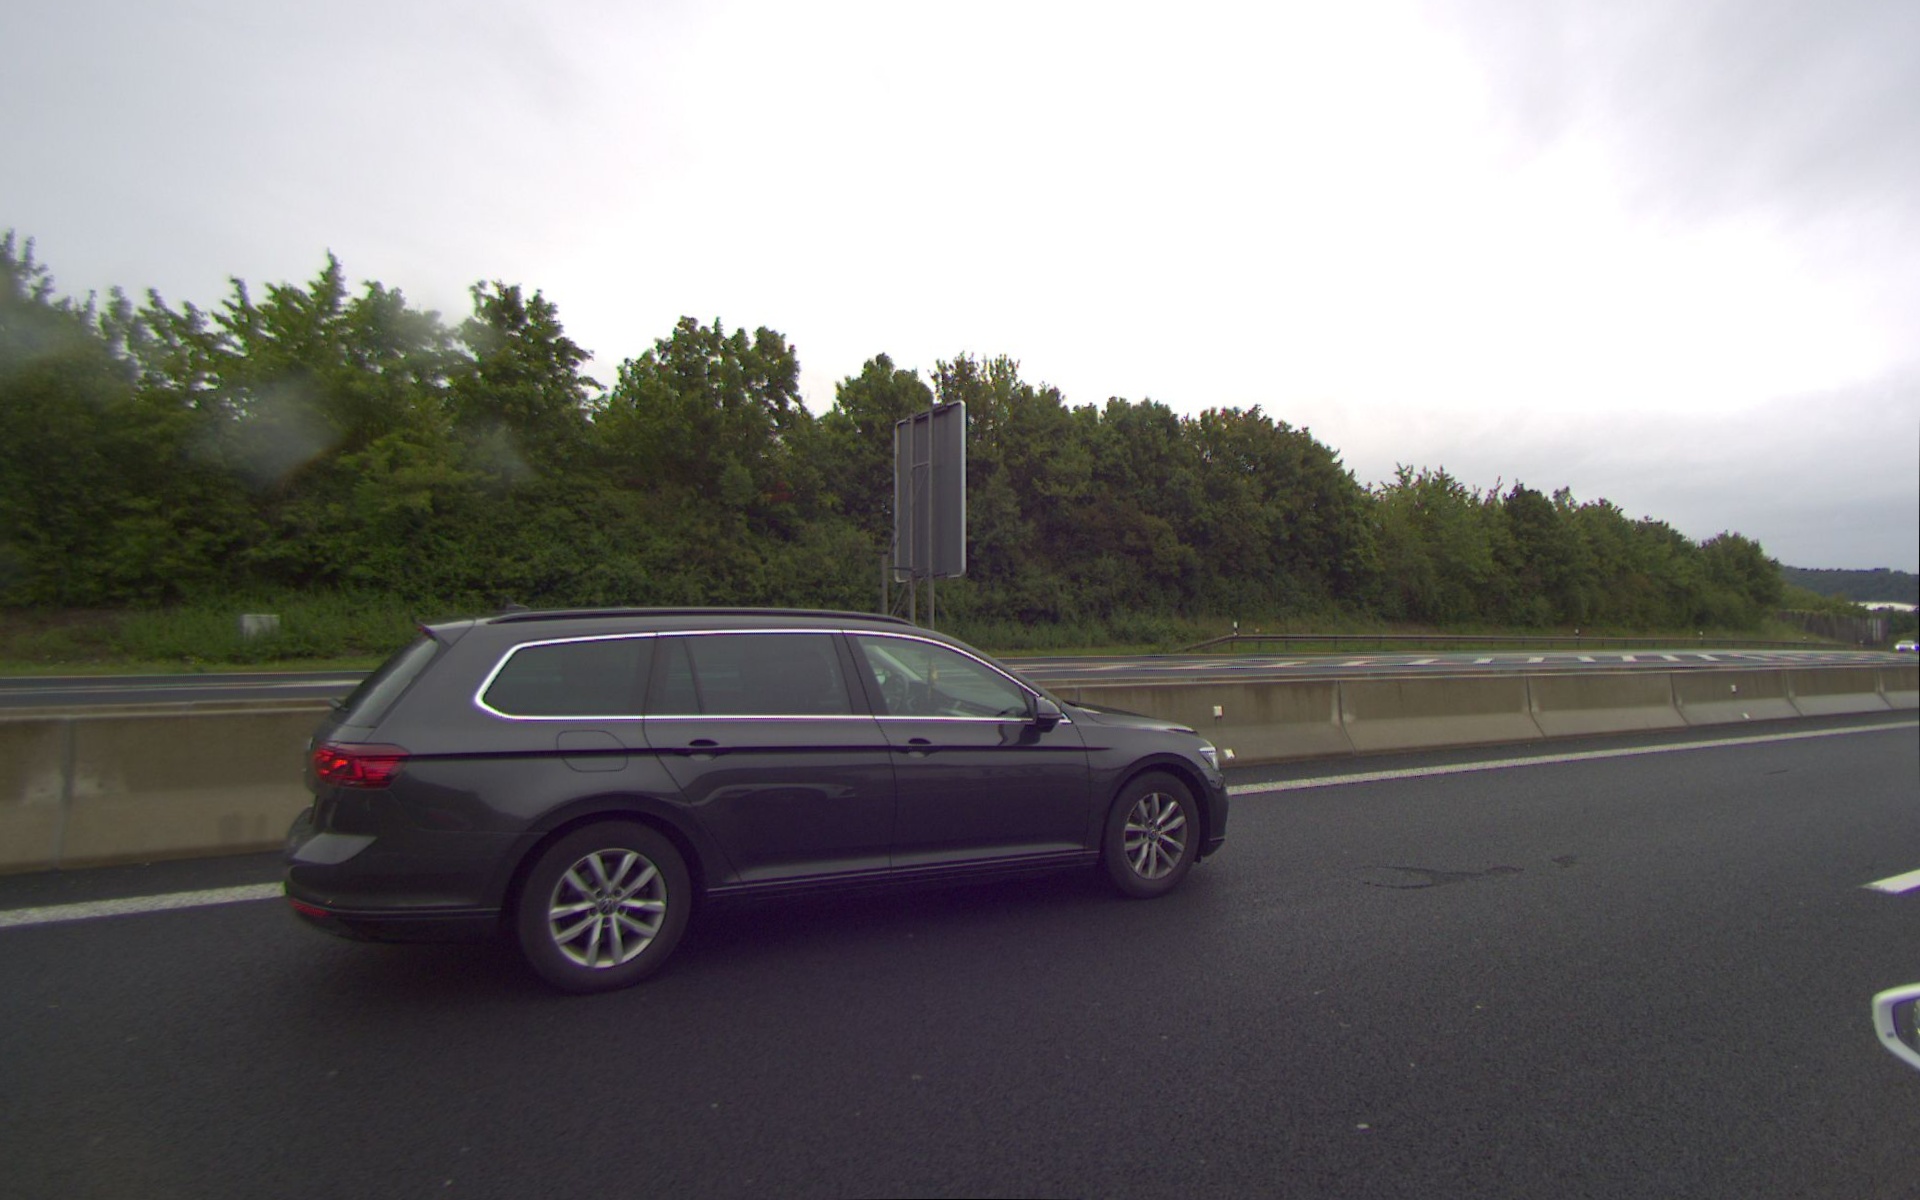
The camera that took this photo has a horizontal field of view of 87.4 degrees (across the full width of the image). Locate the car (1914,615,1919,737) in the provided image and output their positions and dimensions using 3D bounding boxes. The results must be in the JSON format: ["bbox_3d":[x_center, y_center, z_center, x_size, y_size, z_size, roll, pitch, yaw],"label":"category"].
[{"bbox_3d":[15.451,1.086,14.040,4.449,1.661,1.966,2,-1,-31],"label":"car"}]

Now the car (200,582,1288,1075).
[{"bbox_3d":[-0.729,0.756,5.139,4.795,1.517,1.891,1,-1,-30],"label":"car"}]
